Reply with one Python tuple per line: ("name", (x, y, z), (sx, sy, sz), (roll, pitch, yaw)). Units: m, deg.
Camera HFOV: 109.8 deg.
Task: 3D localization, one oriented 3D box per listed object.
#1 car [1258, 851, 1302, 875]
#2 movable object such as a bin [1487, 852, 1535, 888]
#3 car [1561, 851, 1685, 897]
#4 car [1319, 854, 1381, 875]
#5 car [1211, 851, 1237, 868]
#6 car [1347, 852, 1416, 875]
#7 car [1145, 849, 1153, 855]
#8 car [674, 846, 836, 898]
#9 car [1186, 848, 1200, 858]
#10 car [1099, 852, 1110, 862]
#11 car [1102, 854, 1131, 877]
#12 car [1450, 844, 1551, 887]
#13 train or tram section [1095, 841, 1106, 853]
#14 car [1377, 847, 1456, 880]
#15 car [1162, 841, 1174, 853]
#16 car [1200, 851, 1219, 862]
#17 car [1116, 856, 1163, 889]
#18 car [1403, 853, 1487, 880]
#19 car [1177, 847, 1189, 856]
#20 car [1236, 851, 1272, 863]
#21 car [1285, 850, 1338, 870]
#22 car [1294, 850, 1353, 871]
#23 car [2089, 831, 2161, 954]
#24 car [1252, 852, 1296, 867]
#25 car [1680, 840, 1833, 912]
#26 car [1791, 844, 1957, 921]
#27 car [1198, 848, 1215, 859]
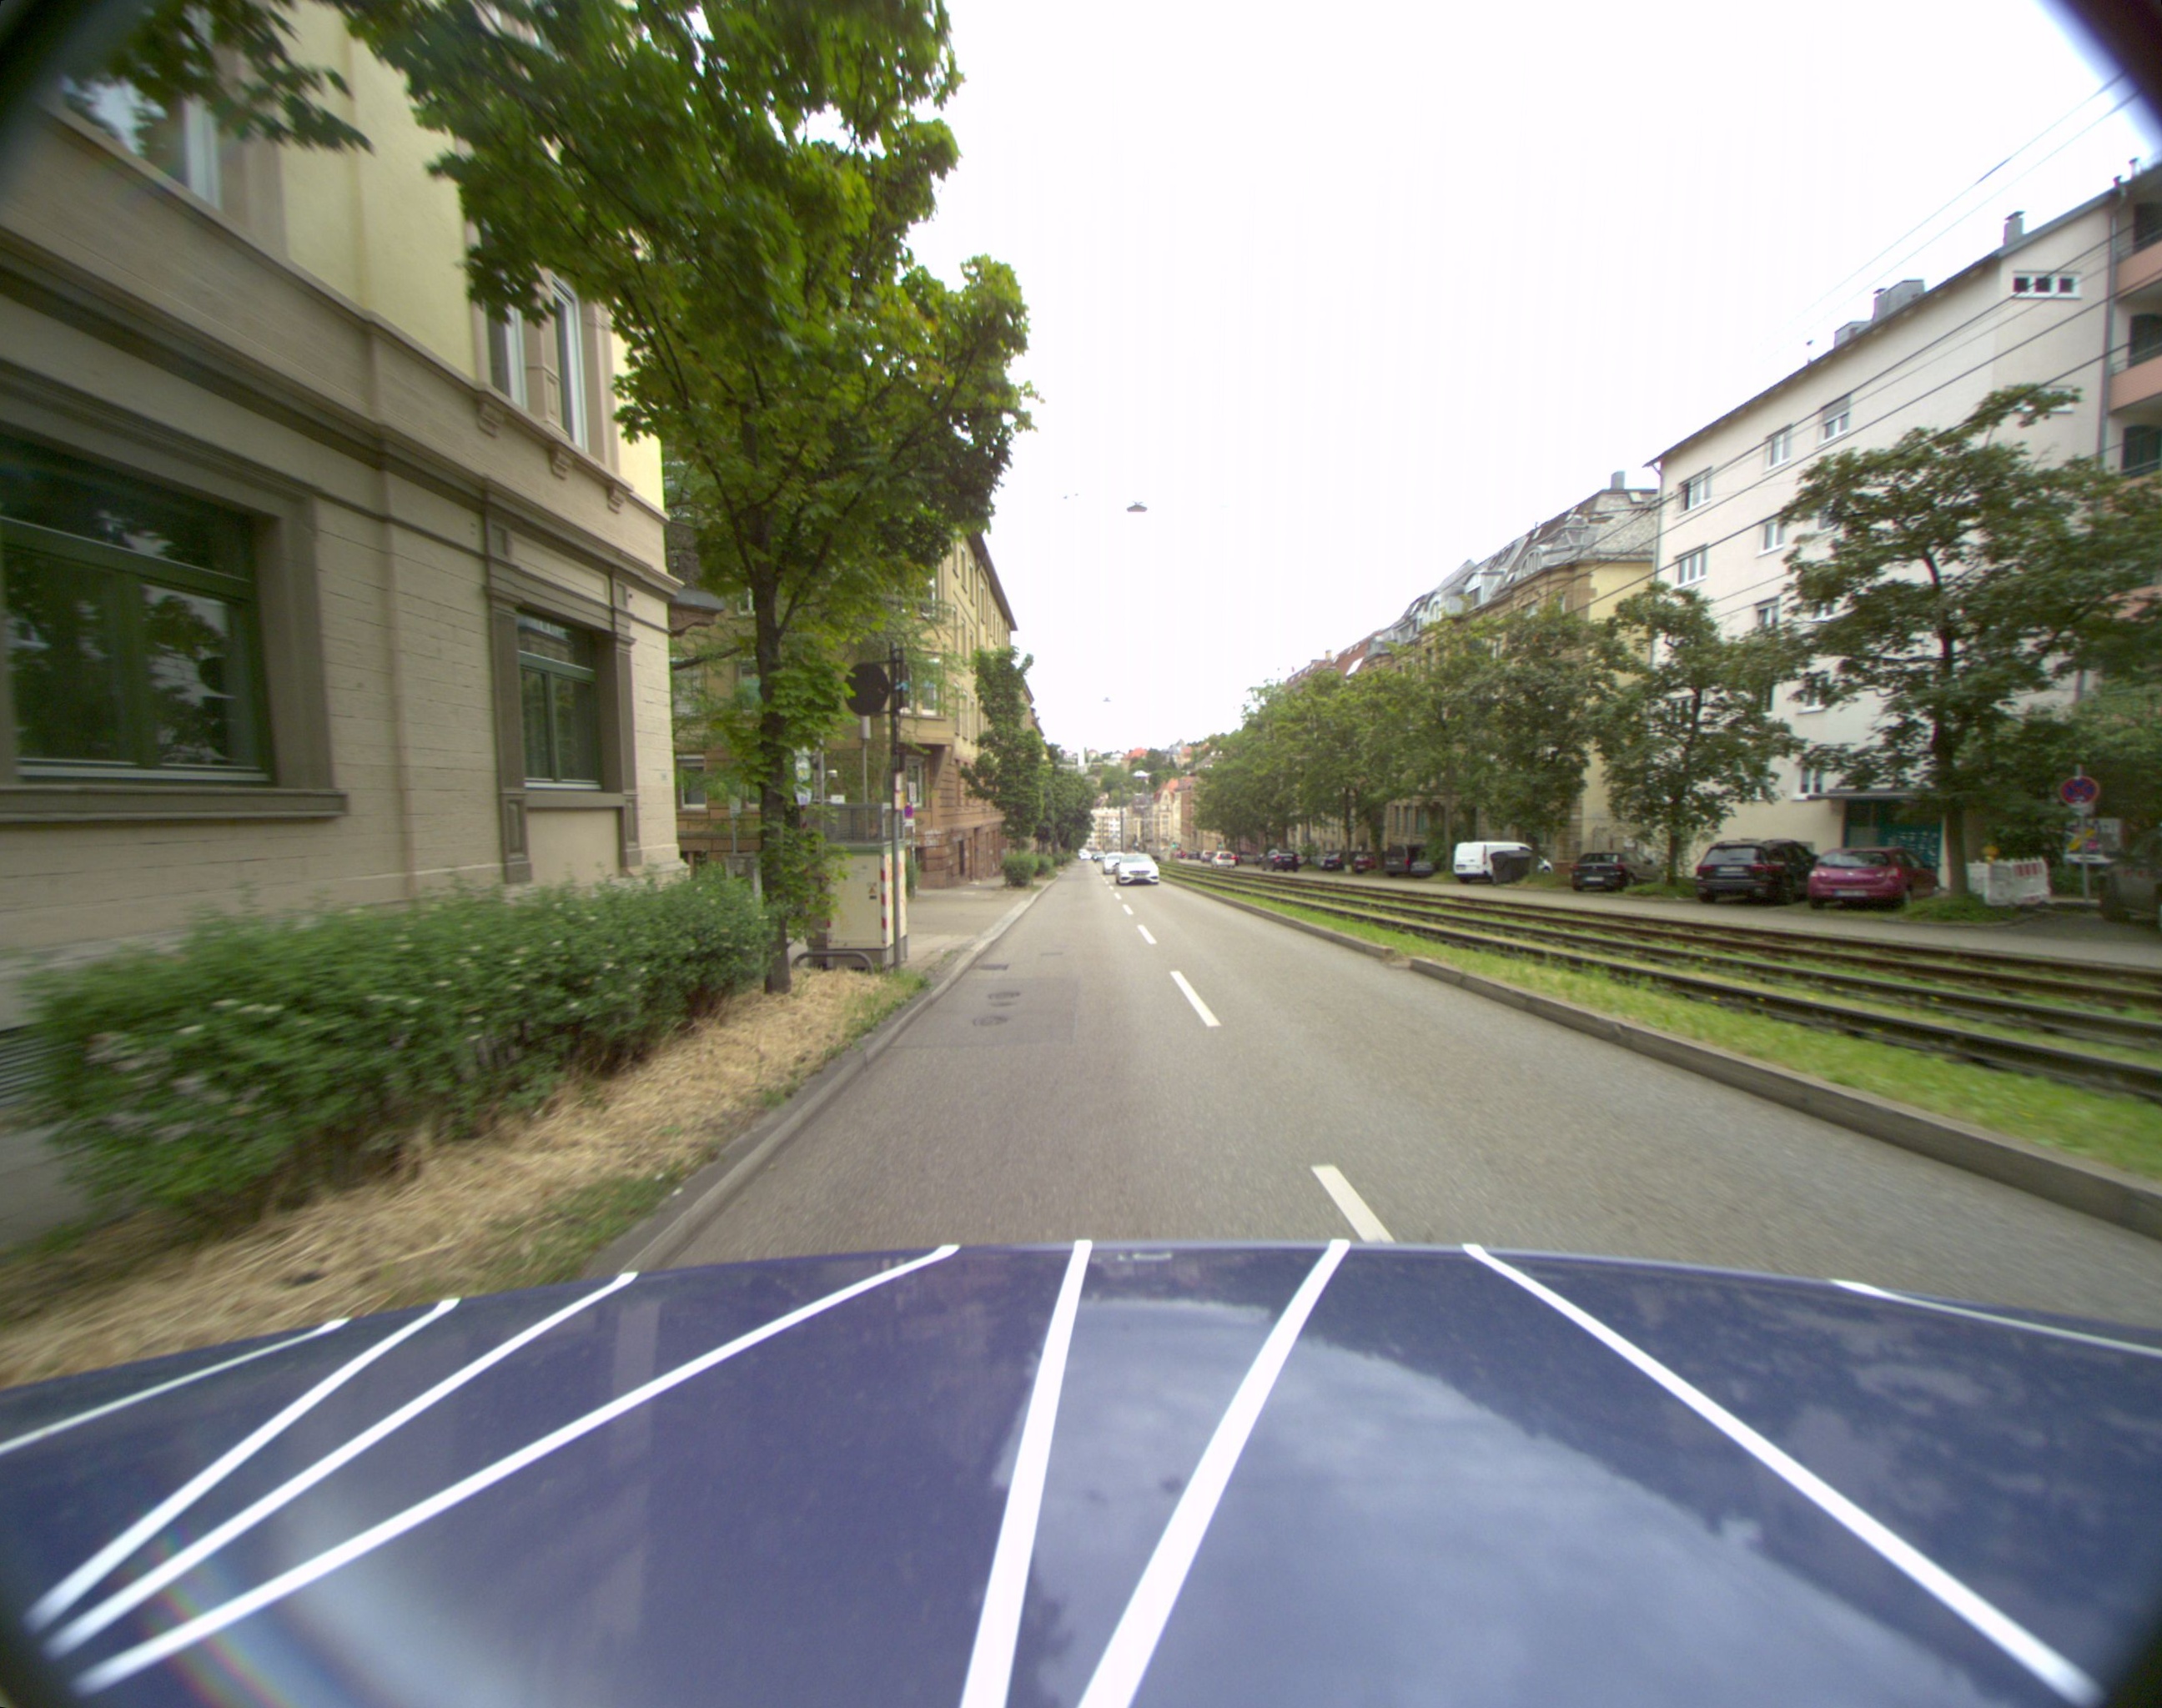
("car", (14.323, 0.631, 54.881), (1.922, 1.640, 4.607), (1, 0, 0))
("movable object such as a bin", (17.275, 0.637, 30.561), (1.279, 1.393, 1.095), (-2, 1, -15))
("car", (19.078, 0.670, 26.696), (4.614, 1.337, 1.931), (-3, 1, -32))
("car", (19.101, 0.697, 53.899), (4.198, 1.427, 1.867), (-1, 0, -29))
("car", (12.587, 0.509, 66.864), (1.592, 1.427, 3.412), (1, 0, 0))
("car", (19.165, 0.569, 48.466), (4.198, 1.427, 1.867), (-1, 0, -29))
("car", (18.164, -0.603, 201.940), (1.884, 1.640, 4.471), (1, 0, 3))
("car", (-9.828, 0.522, 23.108), (4.097, 1.371, 1.811), (2, 1, -1))
("car", (19.390, -0.183, 131.539), (1.784, 1.647, 4.243), (1, 0, 1))
("car", (3.415, 0.449, 110.802), (1.562, 1.330, 4.000), (0, 0, 1))
("car", (2.474, 0.790, 53.658), (1.806, 1.542, 4.000), (-1, 0, 0))
("car", (18.729, 0.480, 33.929), (4.197, 1.826, 1.867), (-1, 1, -26))
("train or tram section", (6.151, -2.120, 243.060), (2.968, 3.456, 14.407), (0, 0, -1))
("car", (18.775, 0.512, 42.476), (4.198, 1.757, 1.867), (-1, 1, -29))
("car", (20.721, -1.580, 181.077), (2.398, 2.684, 6.519), (1, 0, 2))
("car", (16.964, 0.344, 100.167), (1.729, 1.402, 4.597), (1, 0, 1))
("car", (2.644, 0.807, 35.124), (1.806, 1.391, 4.000), (-1, 0, 0))
("car", (19.042, 0.633, 39.701), (4.198, 1.332, 1.867), (-1, 0, -29))
("car", (20.624, -0.495, 153.624), (1.884, 1.640, 4.471), (1, 0, 3))
("car", (20.522, 0.328, 90.250), (4.006, 1.414, 1.782), (-1, 1, -31))
("car", (18.944, 0.487, 62.410), (4.161, 1.461, 1.781), (-2, 2, -31))
("car", (18.663, 0.463, 58.454), (4.198, 1.564, 1.867), (-1, 1, -28))
("car", (18.341, 0.539, 12.178), (1.931, 1.787, 4.616), (-1, 1, 44))
("car", (19.317, 0.549, 75.994), (4.190, 1.356, 1.708), (-1, 0, -29))
("car", (18.654, 0.525, 20.928), (4.614, 1.672, 1.931), (-3, 1, -32))
("car", (19.485, 0.615, 18.619), (4.614, 1.539, 1.931), (-3, 1, -32))
("car", (18.845, -0.020, 114.185), (1.784, 1.607, 4.346), (1, 0, 1))
